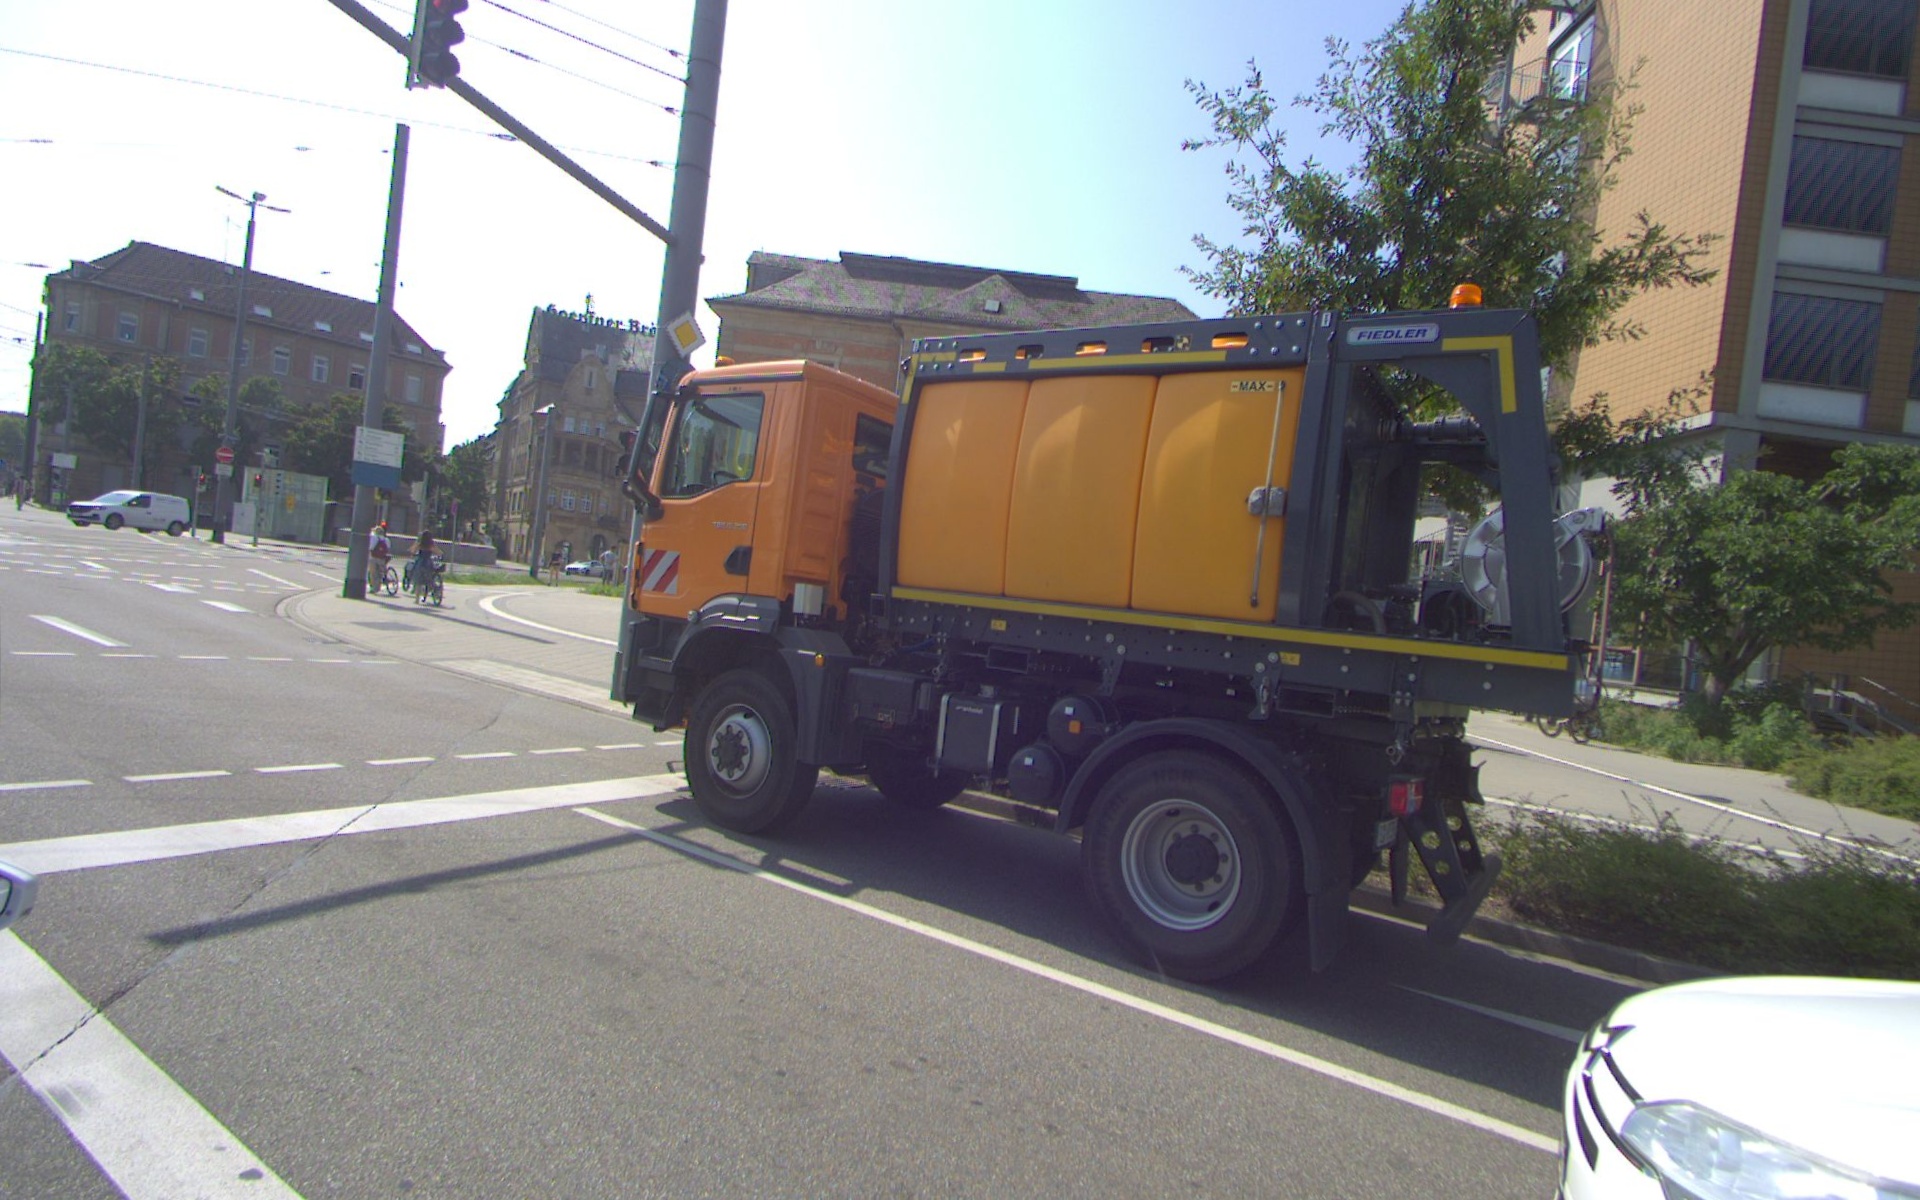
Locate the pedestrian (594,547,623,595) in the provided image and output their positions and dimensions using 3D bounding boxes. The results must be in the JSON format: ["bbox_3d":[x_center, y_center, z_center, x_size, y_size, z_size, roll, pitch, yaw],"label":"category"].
[{"bbox_3d":[-13.540,-1.115,38.744,0.808,1.746,0.546,6,1,-9],"label":"pedestrian"}]

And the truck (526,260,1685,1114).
[{"bbox_3d":[0.379,0.093,6.645,6.751,3.174,2.493,7,1,34],"label":"truck"}]

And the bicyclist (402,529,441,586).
[{"bbox_3d":[-14.134,-1.118,26.394,0.882,1.410,0.529,7,1,44],"label":"bicyclist"}]

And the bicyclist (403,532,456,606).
[{"bbox_3d":[-11.963,-0.694,22.691,0.653,1.537,0.734,7,1,36],"label":"bicyclist"}]

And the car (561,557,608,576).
[{"bbox_3d":[-30.903,-2.734,82.887,1.962,1.103,4.001,7,0,6],"label":"car"}]

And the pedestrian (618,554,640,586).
[{"bbox_3d":[-13.627,-1.218,41.395,0.659,1.229,0.523,6,1,-30],"label":"pedestrian"}]

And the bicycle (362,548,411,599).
[{"bbox_3d":[-13.869,-0.655,24.300,1.632,1.068,0.535,7,1,45],"label":"bicycle"}]

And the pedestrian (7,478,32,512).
[{"bbox_3d":[-49.468,-5.533,52.937,0.562,1.623,0.701,7,1,24],"label":"pedestrian"}]

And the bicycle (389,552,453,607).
[{"bbox_3d":[-12.286,-0.486,22.916,1.795,1.068,0.492,7,1,37],"label":"bicycle"}]

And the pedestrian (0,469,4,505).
[{"bbox_3d":[-82.576,-9.739,85.902,0.960,3.055,0.983,7,1,38],"label":"pedestrian"}]

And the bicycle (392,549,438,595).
[{"bbox_3d":[-14.472,-0.746,26.705,1.632,1.068,0.535,7,1,45],"label":"bicycle"}]

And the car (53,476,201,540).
[{"bbox_3d":[-36.069,-3.927,43.754,1.962,2.038,4.628,7,0,10],"label":"car"}]

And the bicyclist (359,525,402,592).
[{"bbox_3d":[-14.122,-1.005,24.506,0.702,1.537,0.626,7,1,44],"label":"bicyclist"}]

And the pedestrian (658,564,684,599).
[{"bbox_3d":[-12.546,-0.785,43.669,0.679,1.417,0.767,7,1,7],"label":"pedestrian"}]

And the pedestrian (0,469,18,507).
[{"bbox_3d":[-82.381,-9.675,86.987,0.960,3.055,0.983,7,1,38],"label":"pedestrian"}]

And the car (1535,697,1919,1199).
[{"bbox_3d":[3.293,1.177,1.085,4.533,1.446,1.771,7,0,31],"label":"car"}]

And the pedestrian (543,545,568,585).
[{"bbox_3d":[-16.921,-1.451,42.100,0.727,1.595,0.787,6,1,-14],"label":"pedestrian"}]
